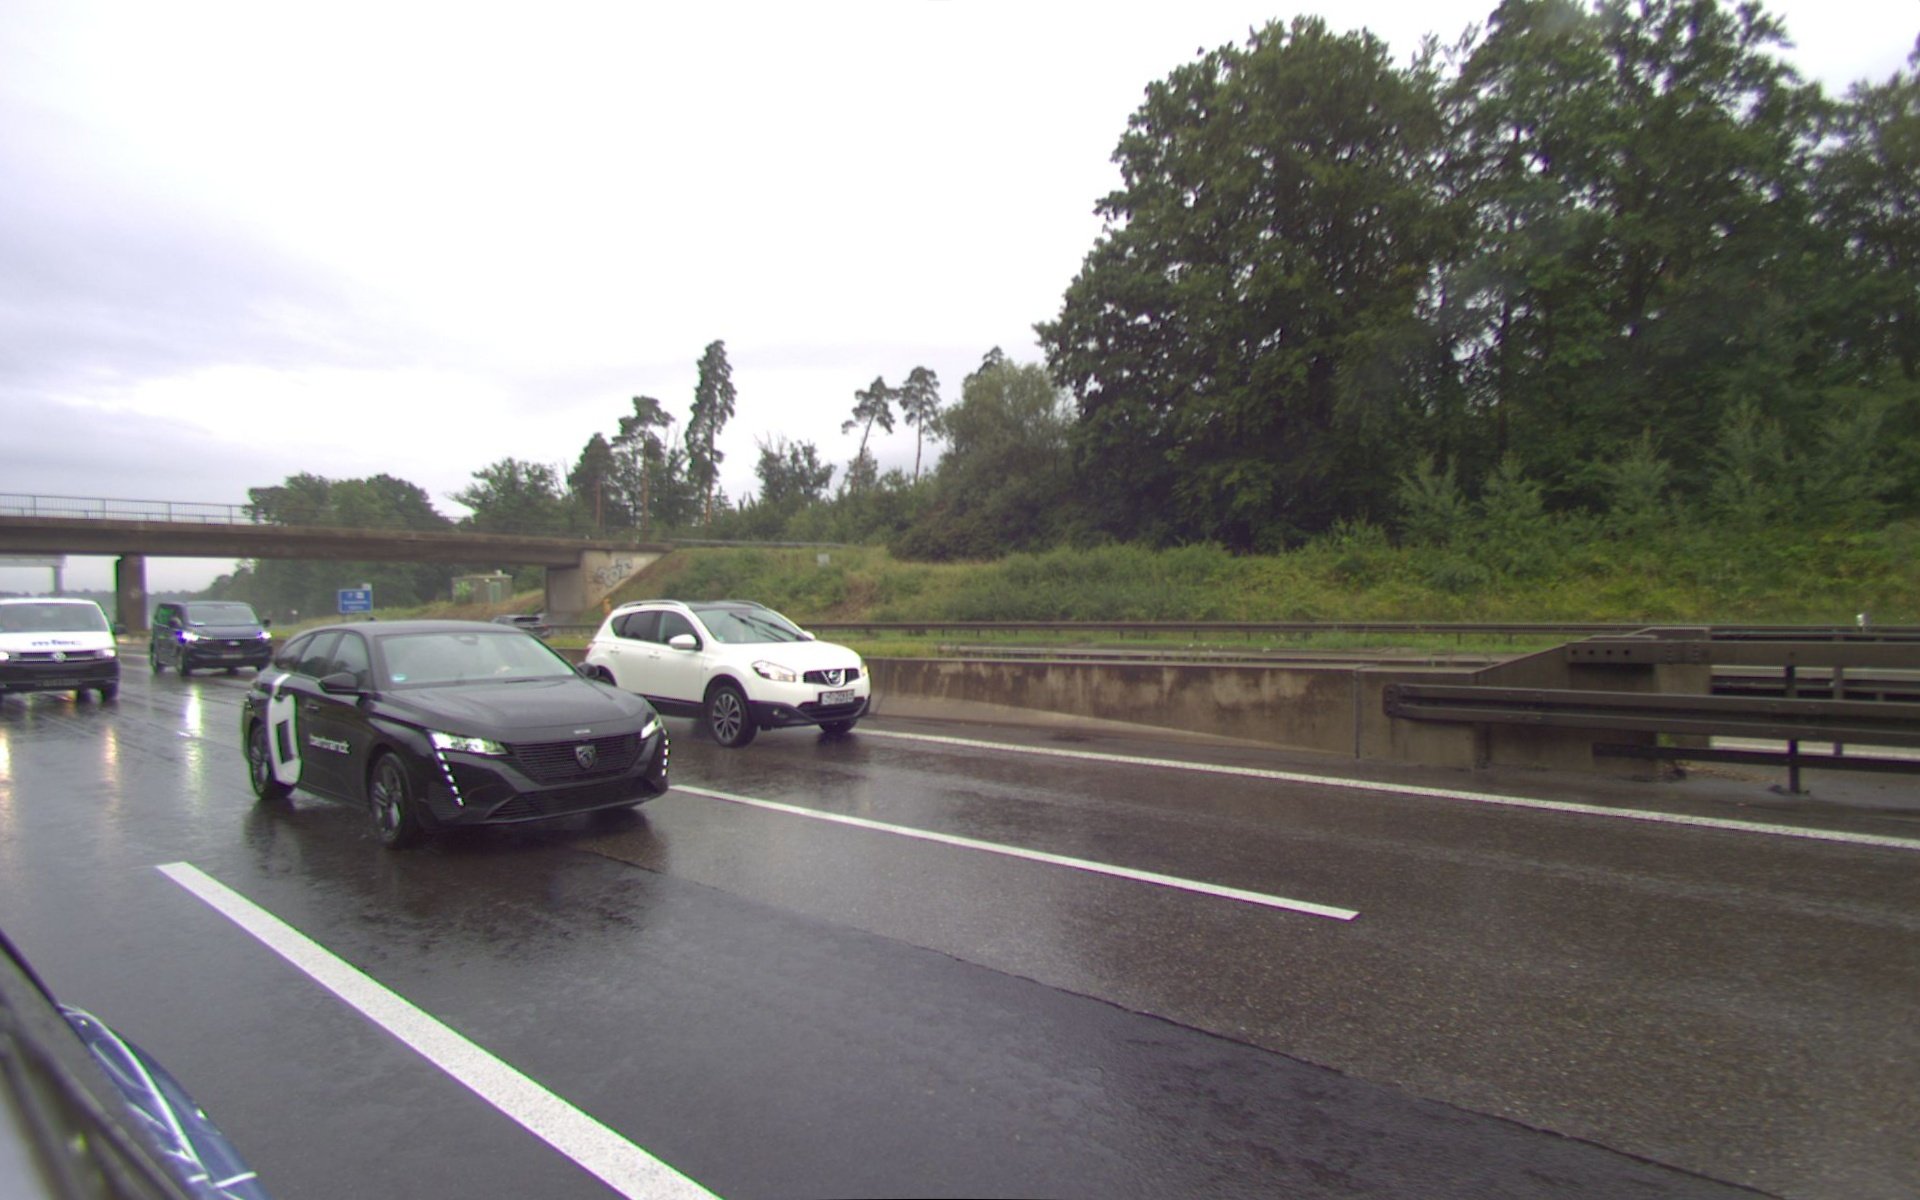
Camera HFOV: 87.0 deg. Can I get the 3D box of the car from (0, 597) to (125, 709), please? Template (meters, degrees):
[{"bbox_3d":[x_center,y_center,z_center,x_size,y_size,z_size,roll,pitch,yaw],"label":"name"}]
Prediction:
[{"bbox_3d":[-17.731,0.950,19.407,4.766,1.894,1.969,-2,-1,42],"label":"car"}]

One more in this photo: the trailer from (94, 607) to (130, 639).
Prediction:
[{"bbox_3d":[-135.653,3.702,161.736,13.352,4.850,3.169,-2,-1,45],"label":"trailer"}]

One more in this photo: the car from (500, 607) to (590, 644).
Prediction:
[{"bbox_3d":[-16.043,0.966,39.072,3.674,1.355,1.783,-2,-1,41],"label":"car"}]

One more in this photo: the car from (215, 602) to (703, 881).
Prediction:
[{"bbox_3d":[-4.028,0.819,7.740,4.465,1.516,1.826,-2,-1,42],"label":"car"}]

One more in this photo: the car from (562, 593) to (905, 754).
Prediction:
[{"bbox_3d":[-2.891,0.773,12.291,4.465,1.603,1.826,-2,-1,42],"label":"car"}]

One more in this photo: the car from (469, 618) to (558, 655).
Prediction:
[{"bbox_3d":[-17.995,1.452,40.702,3.949,1.401,1.699,-2,-1,40],"label":"car"}]

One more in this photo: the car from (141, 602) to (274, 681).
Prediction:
[{"bbox_3d":[-20.658,1.067,27.693,5.242,1.958,1.970,-1,-1,42],"label":"car"}]
